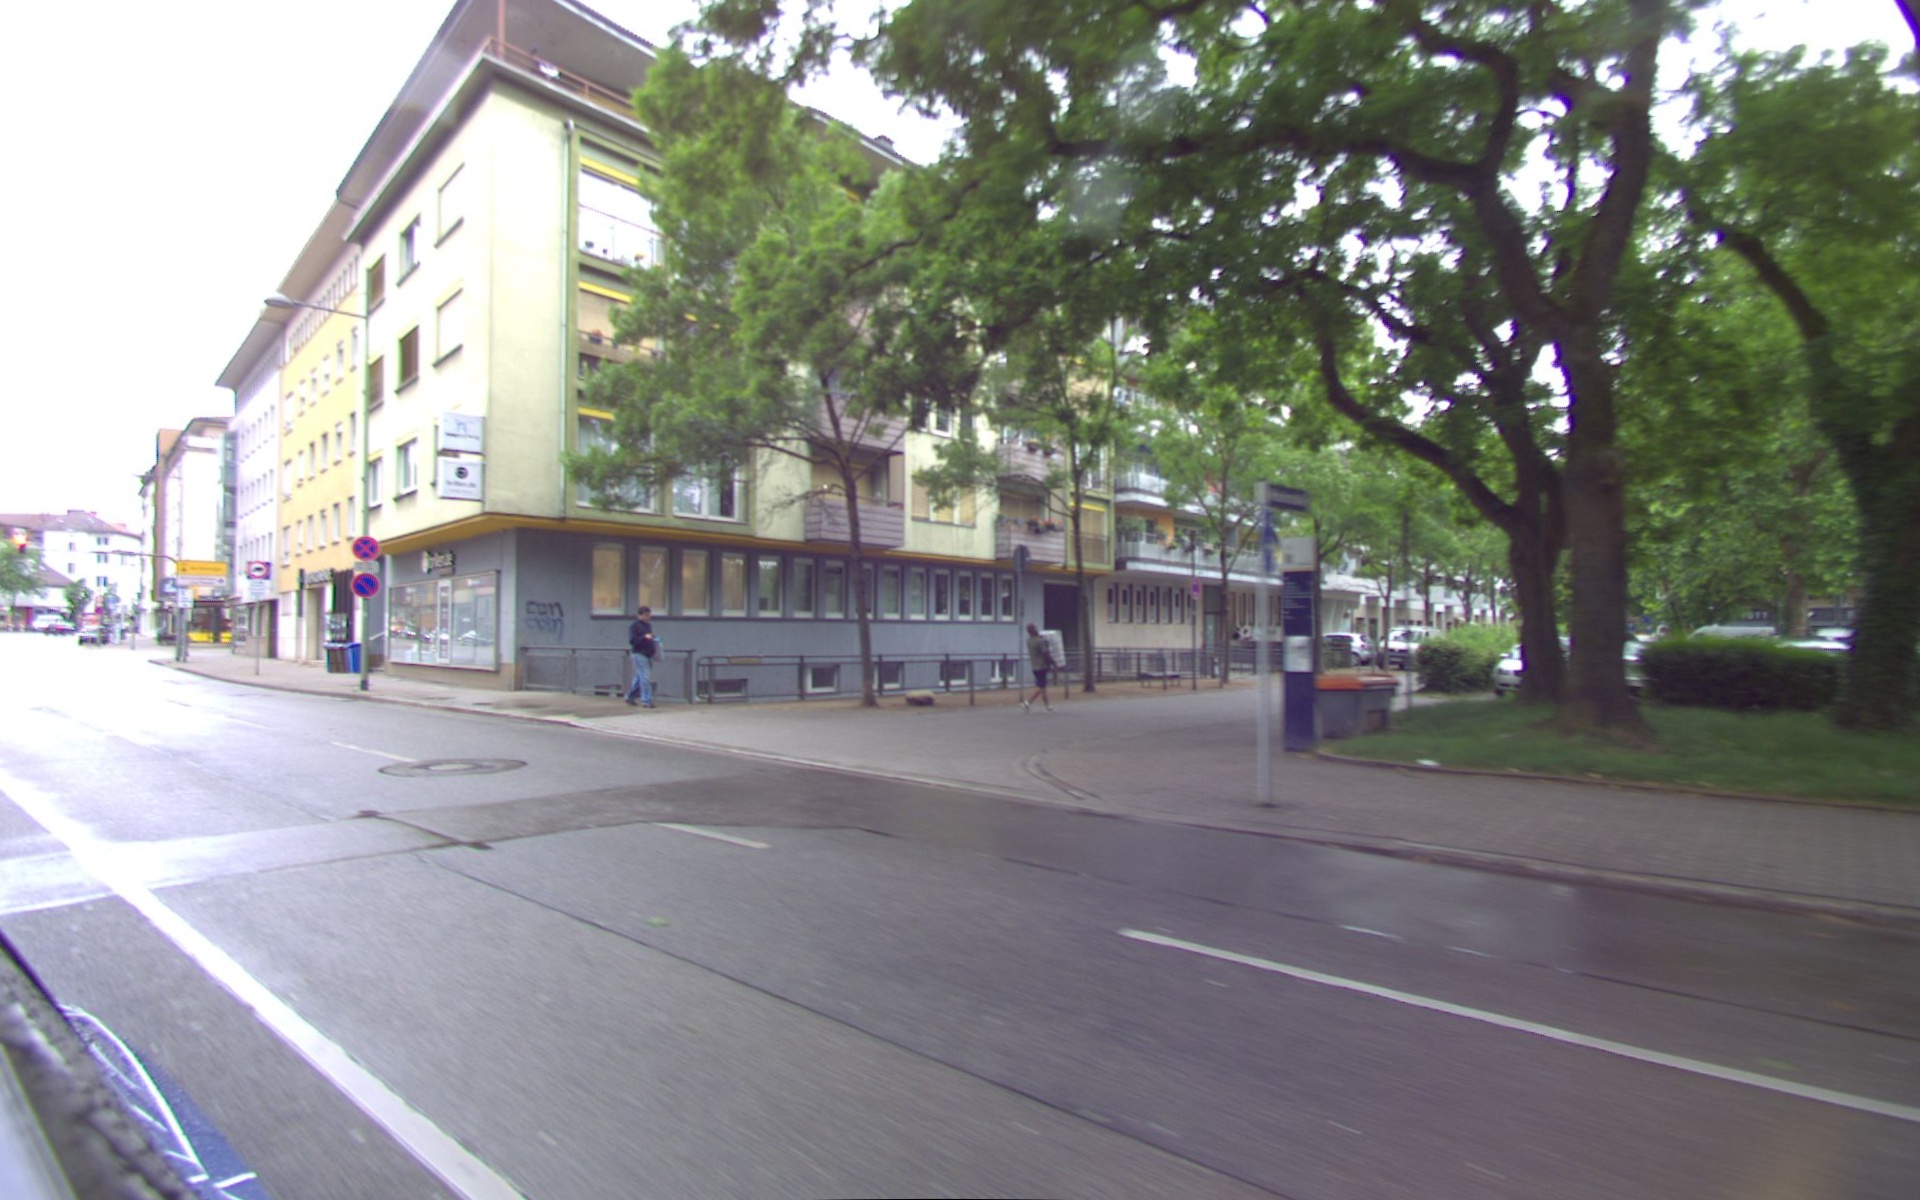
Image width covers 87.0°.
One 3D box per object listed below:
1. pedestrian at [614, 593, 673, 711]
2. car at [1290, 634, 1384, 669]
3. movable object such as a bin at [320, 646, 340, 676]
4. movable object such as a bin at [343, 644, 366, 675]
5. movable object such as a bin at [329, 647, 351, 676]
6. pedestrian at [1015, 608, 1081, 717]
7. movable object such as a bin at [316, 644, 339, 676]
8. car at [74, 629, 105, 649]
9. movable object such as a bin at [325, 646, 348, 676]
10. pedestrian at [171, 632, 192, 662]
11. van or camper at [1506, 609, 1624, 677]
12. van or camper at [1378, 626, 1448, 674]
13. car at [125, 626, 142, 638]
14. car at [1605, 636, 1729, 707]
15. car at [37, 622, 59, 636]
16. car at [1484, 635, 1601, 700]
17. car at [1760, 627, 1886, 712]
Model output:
[{"bbox_3d":[-5.626,0.912,17.991,0.741,2.029,0.783,2,-3,-42],"label":"pedestrian"},{"bbox_3d":[18.546,2.506,49.833,3.998,1.608,1.757,-1,-2,41],"label":"car"},{"bbox_3d":[-20.915,2.024,33.600,0.458,0.935,0.429,-4,1,-42],"label":"movable object such as a bin"},{"bbox_3d":[-19.524,1.918,32.644,0.522,0.968,0.435,-4,1,-42],"label":"movable object such as a bin"},{"bbox_3d":[-20.132,1.988,32.861,0.522,0.902,0.435,-4,1,-42],"label":"movable object such as a bin"},{"bbox_3d":[1.628,1.140,18.707,0.906,1.939,0.820,2,-3,-44],"label":"pedestrian"},{"bbox_3d":[-21.295,2.006,34.078,0.510,1.008,0.524,-4,1,-42],"label":"movable object such as a bin"},{"bbox_3d":[-71.956,3.217,83.707,1.807,1.634,4.007,1,-2,-39],"label":"car"},{"bbox_3d":[-20.457,2.007,33.197,0.521,0.935,0.426,-4,1,-42],"label":"movable object such as a bin"},{"bbox_3d":[-42.618,2.545,55.398,0.773,1.600,0.675,-1,-1,-29],"label":"pedestrian"},{"bbox_3d":[24.072,1.649,40.035,2.561,2.420,8.535,-2,-2,41],"label":"van or camper"},{"bbox_3d":[20.818,2.271,46.392,1.825,2.029,4.576,1,-1,38],"label":"van or camper"},{"bbox_3d":[-113.273,4.383,138.721,1.567,1.539,3.496,1,-2,-36],"label":"car"},{"bbox_3d":[16.438,1.588,23.463,1.863,1.475,3.944,-2,-2,42],"label":"car"},{"bbox_3d":[-101.787,3.254,112.977,1.723,1.608,4.005,2,-3,-42],"label":"car"},{"bbox_3d":[14.525,1.605,25.173,1.863,1.475,3.592,-2,-2,41],"label":"car"},{"bbox_3d":[18.354,1.398,21.493,1.863,1.638,3.995,-2,-3,42],"label":"car"}]
